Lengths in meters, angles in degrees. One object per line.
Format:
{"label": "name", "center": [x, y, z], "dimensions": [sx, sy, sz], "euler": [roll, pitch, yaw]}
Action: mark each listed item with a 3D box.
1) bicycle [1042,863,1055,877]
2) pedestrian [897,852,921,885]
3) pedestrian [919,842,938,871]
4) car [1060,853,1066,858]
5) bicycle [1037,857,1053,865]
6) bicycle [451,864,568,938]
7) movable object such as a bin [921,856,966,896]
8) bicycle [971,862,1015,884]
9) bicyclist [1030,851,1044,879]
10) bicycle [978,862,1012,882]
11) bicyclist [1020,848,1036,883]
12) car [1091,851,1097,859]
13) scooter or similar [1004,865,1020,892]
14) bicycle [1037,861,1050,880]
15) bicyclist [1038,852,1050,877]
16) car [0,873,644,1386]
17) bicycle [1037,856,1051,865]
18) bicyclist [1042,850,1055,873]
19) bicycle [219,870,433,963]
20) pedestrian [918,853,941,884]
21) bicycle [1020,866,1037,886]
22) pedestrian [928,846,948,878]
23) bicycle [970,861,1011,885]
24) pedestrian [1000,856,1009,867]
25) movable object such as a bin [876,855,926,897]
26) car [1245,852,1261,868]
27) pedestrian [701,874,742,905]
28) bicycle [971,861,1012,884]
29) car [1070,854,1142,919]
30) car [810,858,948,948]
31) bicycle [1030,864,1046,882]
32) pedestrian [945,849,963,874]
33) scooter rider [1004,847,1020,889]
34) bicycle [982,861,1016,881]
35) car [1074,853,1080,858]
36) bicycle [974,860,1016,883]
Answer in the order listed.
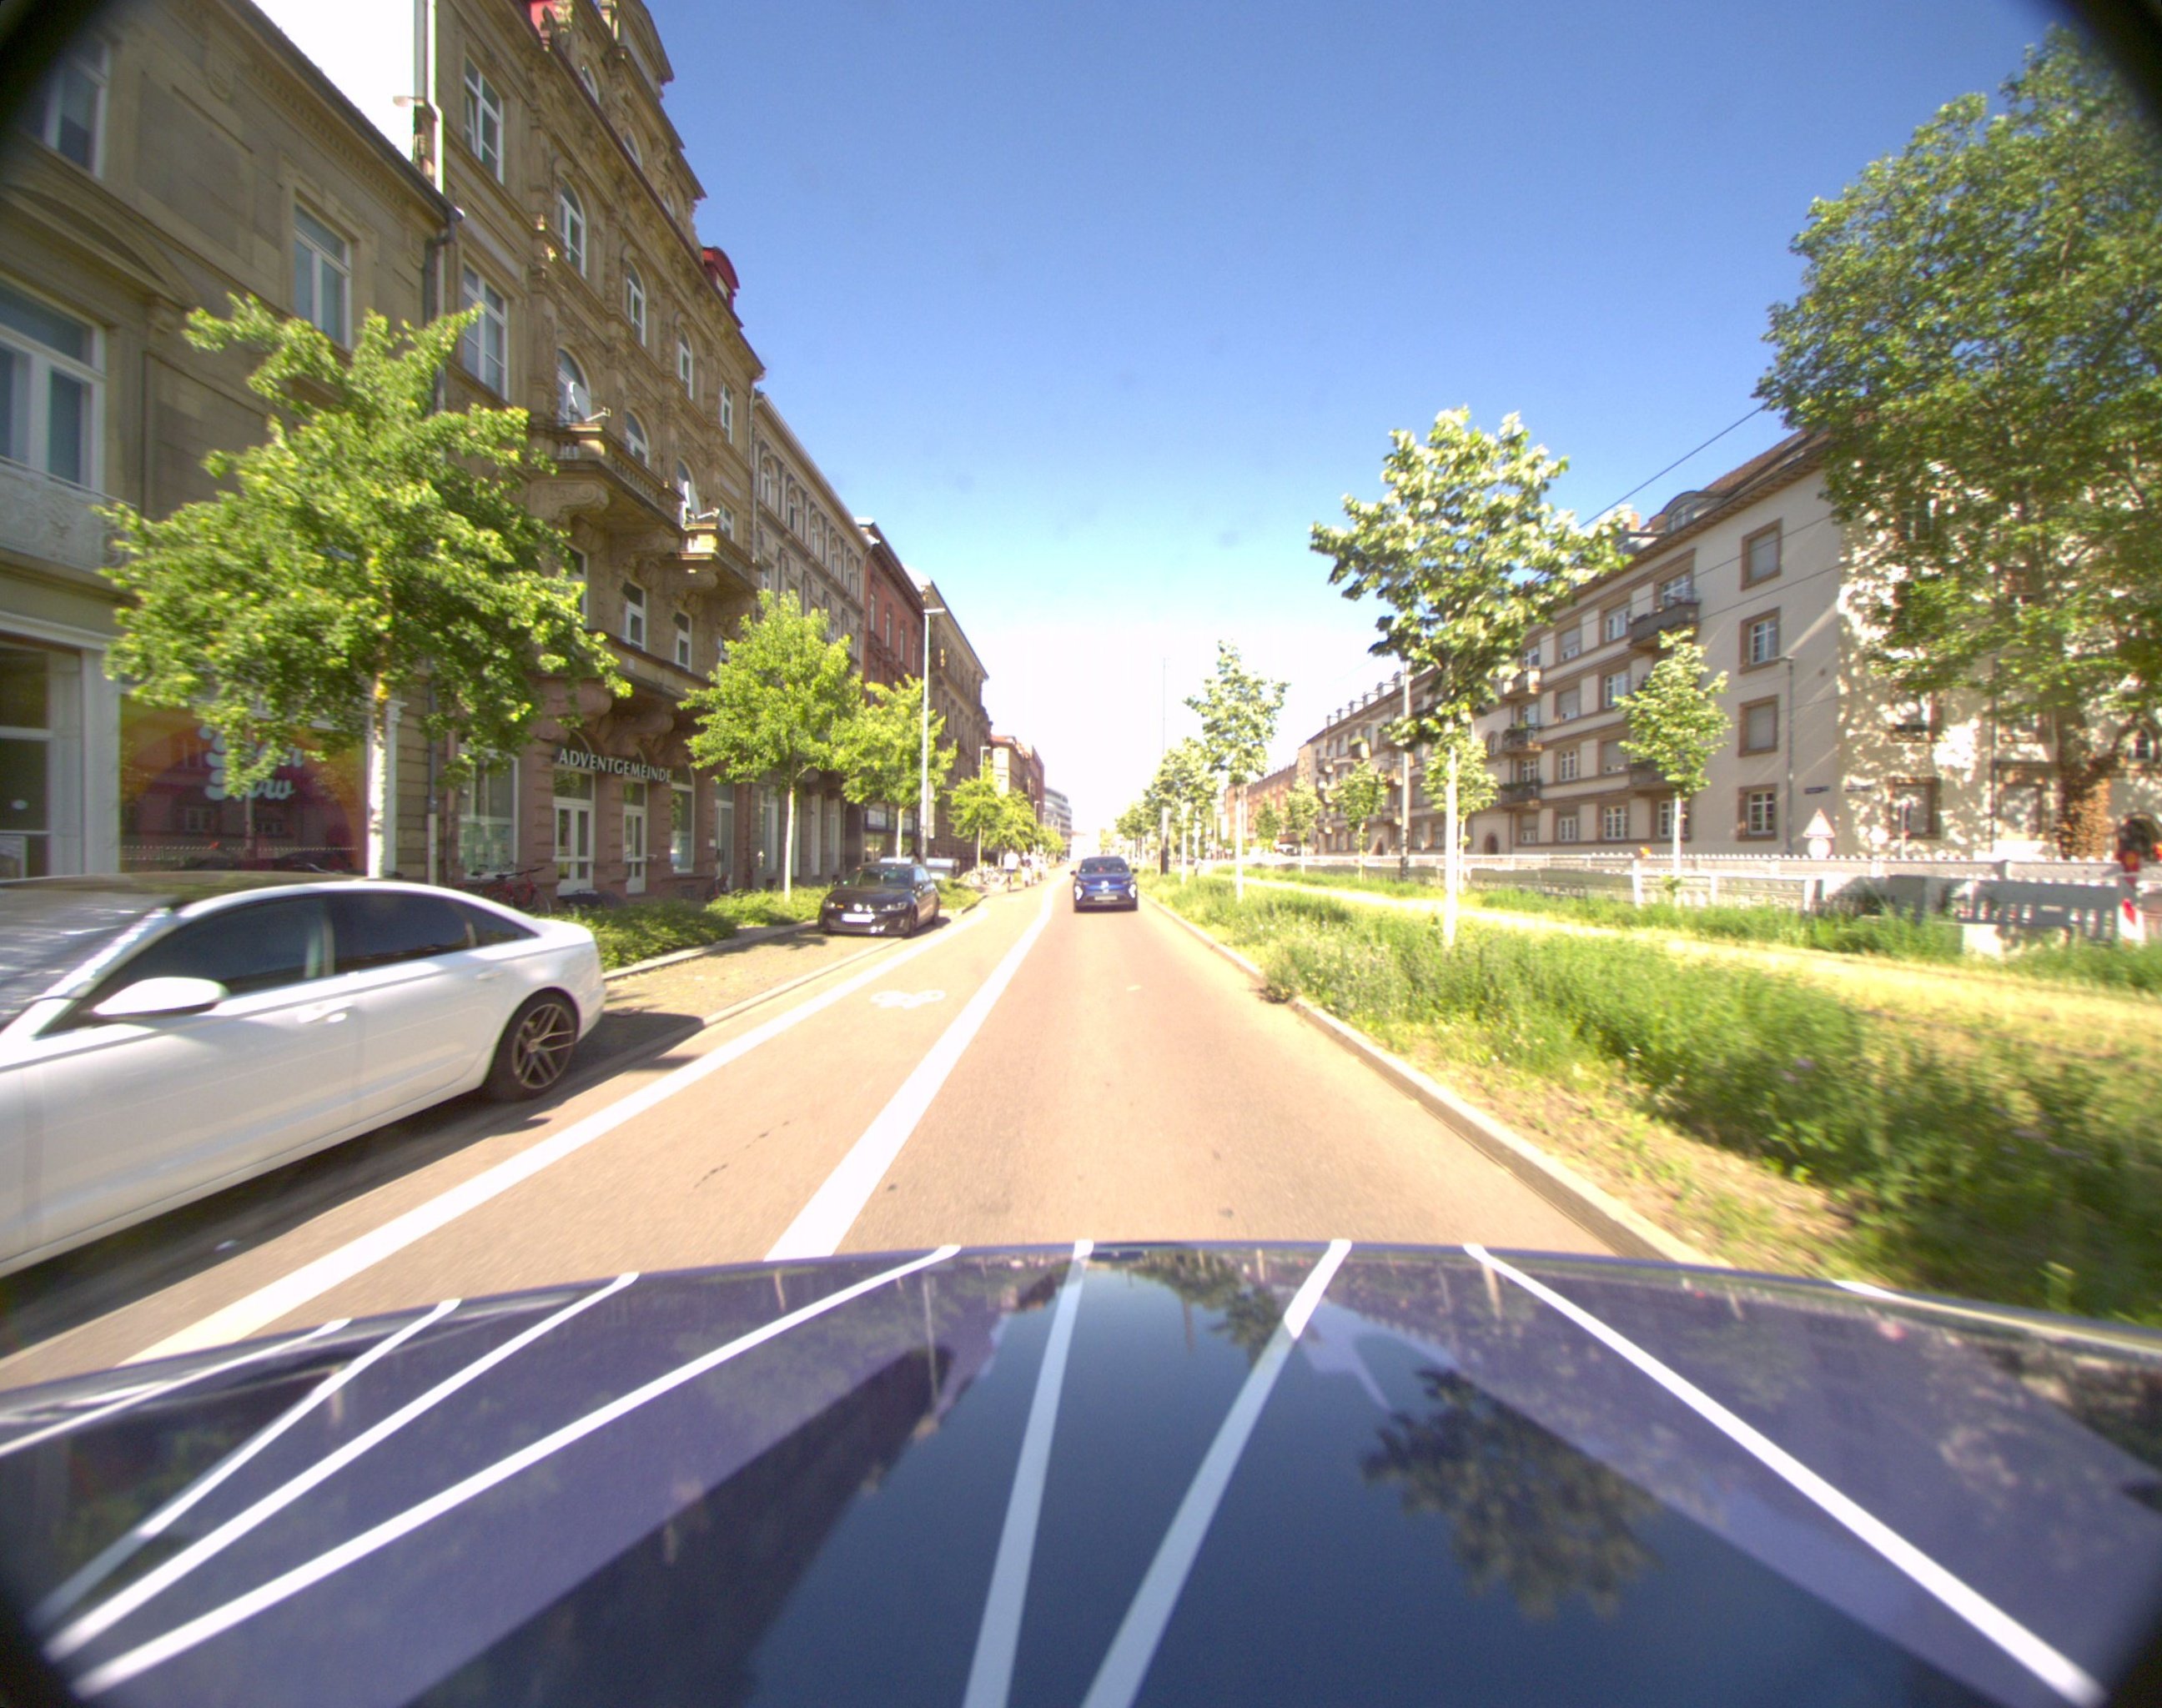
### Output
{"label": "bicycle", "center": [-2.458, 1.181, 57.443], "dimensions": [0.830, 1.000, 1.952], "euler": [-1, 0, 1]}
{"label": "pedestrian", "center": [-8.715, 0.749, 38.546], "dimensions": [0.973, 1.629, 0.992], "euler": [1, 0, 1]}
{"label": "pedestrian", "center": [-9.500, 0.155, 47.382], "dimensions": [0.848, 1.726, 0.903], "euler": [4, 1, 6]}
{"label": "car", "center": [-6.157, 0.413, 259.923], "dimensions": [1.745, 1.543, 4.000], "euler": [1, 0, 0]}
{"label": "bicycle", "center": [-4.932, 0.944, 104.242], "dimensions": [2.062, 1.036, 0.847], "euler": [3, 1, 0]}
{"label": "bicycle", "center": [-10.377, 0.820, 13.889], "dimensions": [0.750, 1.194, 1.801], "euler": [1, 1, 1]}
{"label": "movable object such as a bin", "center": [-5.203, 0.842, 28.950], "dimensions": [1.274, 1.454, 1.645], "euler": [-1, -2, 6]}
{"label": "bicycle", "center": [-4.729, 1.017, 41.030], "dimensions": [2.293, 1.096, 0.485], "euler": [2, 1, -13]}
{"label": "bicyclist", "center": [-2.547, 0.630, 43.959], "dimensions": [0.700, 1.647, 0.977], "euler": [-1, 0, 0]}
{"label": "bicycle", "center": [-4.812, 1.004, 42.541], "dimensions": [1.820, 1.049, 0.571], "euler": [2, 1, -5]}
{"label": "bicyclist", "center": [-2.728, 0.597, 39.453], "dimensions": [0.725, 1.807, 1.091], "euler": [-1, 0, 0]}
{"label": "car", "center": [4.242, 0.237, 243.872], "dimensions": [1.758, 2.471, 4.610], "euler": [0, 0, 1]}
{"label": "scooter or similar", "center": [-3.119, 1.103, 34.487], "dimensions": [0.647, 1.151, 1.150], "euler": [-1, 0, -1]}
{"label": "bicycle", "center": [-2.469, 1.077, 50.602], "dimensions": [0.725, 1.187, 1.952], "euler": [-1, 0, 1]}
{"label": "bicyclist", "center": [-2.476, 0.689, 50.649], "dimensions": [0.725, 1.595, 0.895], "euler": [-1, 0, 1]}
{"label": "car", "center": [-4.418, 0.934, 3.323], "dimensions": [1.956, 1.486, 5.105], "euler": [2, 0, 1]}
{"label": "bicycle", "center": [-4.882, 0.892, 100.180], "dimensions": [1.876, 1.043, 0.608], "euler": [3, 1, -4]}
{"label": "bicyclist", "center": [-2.466, 0.591, 57.443], "dimensions": [0.854, 1.717, 0.989], "euler": [-1, 0, 1]}
{"label": "bicycle", "center": [-10.607, 0.828, 10.827], "dimensions": [0.878, 1.098, 2.181], "euler": [3, 0, -2]}
{"label": "pedestrian", "center": [-7.842, 0.738, 39.324], "dimensions": [0.952, 1.557, 1.080], "euler": [1, 0, 1]}
{"label": "bicycle", "center": [-2.707, 1.133, 39.367], "dimensions": [0.725, 1.000, 1.952], "euler": [-1, 0, 1]}
{"label": "pedestrian", "center": [-8.713, 0.462, 46.288], "dimensions": [0.891, 1.909, 1.098], "euler": [2, 1, 6]}
{"label": "bicycle", "center": [-4.662, 0.981, 39.192], "dimensions": [1.980, 1.117, 0.481], "euler": [4, 0, -4]}
{"label": "pedestrian", "center": [-7.709, 0.753, 76.639], "dimensions": [0.719, 1.176, 0.881], "euler": [1, 1, 0]}
{"label": "movable object such as a bin", "center": [-6.806, 0.810, 28.803], "dimensions": [1.376, 1.487, 1.749], "euler": [3, 1, 2]}
{"label": "car", "center": [26.384, 0.839, 116.617], "dimensions": [1.997, 2.283, 5.192], "euler": [-1, 1, 9]}
{"label": "pedestrian", "center": [-10.340, 1.013, 21.884], "dimensions": [0.873, 0.814, 0.979], "euler": [-1, 1, -12]}
{"label": "bicycle", "center": [-4.662, 0.973, 39.600], "dimensions": [2.049, 1.100, 0.610], "euler": [3, 1, -5]}
{"label": "car", "center": [0.663, 0.837, 21.497], "dimensions": [1.758, 1.576, 4.420], "euler": [-2, 0, 1]}
{"label": "car", "center": [-4.065, 0.912, 16.049], "dimensions": [1.770, 1.468, 4.447], "euler": [3, 1, -2]}
{"label": "bicycle", "center": [-2.508, 1.112, 44.178], "dimensions": [0.725, 1.000, 1.952], "euler": [-1, 0, 2]}
{"label": "pedestrian", "center": [-8.864, 0.523, 53.053], "dimensions": [0.972, 1.682, 1.113], "euler": [2, 1, 0]}
{"label": "scooter rider", "center": [-3.128, 0.634, 34.453], "dimensions": [0.663, 1.855, 0.897], "euler": [-1, 1, -1]}
{"label": "bicycle", "center": [-4.746, 0.999, 44.013], "dimensions": [1.897, 1.102, 0.517], "euler": [2, 1, -4]}
{"label": "car", "center": [-1.334, 0.549, 259.170], "dimensions": [1.745, 1.543, 4.000], "euler": [1, 0, 1]}
{"label": "bicycle", "center": [-4.594, 0.942, 40.682], "dimensions": [2.154, 1.148, 0.429], "euler": [3, 0, -13]}
